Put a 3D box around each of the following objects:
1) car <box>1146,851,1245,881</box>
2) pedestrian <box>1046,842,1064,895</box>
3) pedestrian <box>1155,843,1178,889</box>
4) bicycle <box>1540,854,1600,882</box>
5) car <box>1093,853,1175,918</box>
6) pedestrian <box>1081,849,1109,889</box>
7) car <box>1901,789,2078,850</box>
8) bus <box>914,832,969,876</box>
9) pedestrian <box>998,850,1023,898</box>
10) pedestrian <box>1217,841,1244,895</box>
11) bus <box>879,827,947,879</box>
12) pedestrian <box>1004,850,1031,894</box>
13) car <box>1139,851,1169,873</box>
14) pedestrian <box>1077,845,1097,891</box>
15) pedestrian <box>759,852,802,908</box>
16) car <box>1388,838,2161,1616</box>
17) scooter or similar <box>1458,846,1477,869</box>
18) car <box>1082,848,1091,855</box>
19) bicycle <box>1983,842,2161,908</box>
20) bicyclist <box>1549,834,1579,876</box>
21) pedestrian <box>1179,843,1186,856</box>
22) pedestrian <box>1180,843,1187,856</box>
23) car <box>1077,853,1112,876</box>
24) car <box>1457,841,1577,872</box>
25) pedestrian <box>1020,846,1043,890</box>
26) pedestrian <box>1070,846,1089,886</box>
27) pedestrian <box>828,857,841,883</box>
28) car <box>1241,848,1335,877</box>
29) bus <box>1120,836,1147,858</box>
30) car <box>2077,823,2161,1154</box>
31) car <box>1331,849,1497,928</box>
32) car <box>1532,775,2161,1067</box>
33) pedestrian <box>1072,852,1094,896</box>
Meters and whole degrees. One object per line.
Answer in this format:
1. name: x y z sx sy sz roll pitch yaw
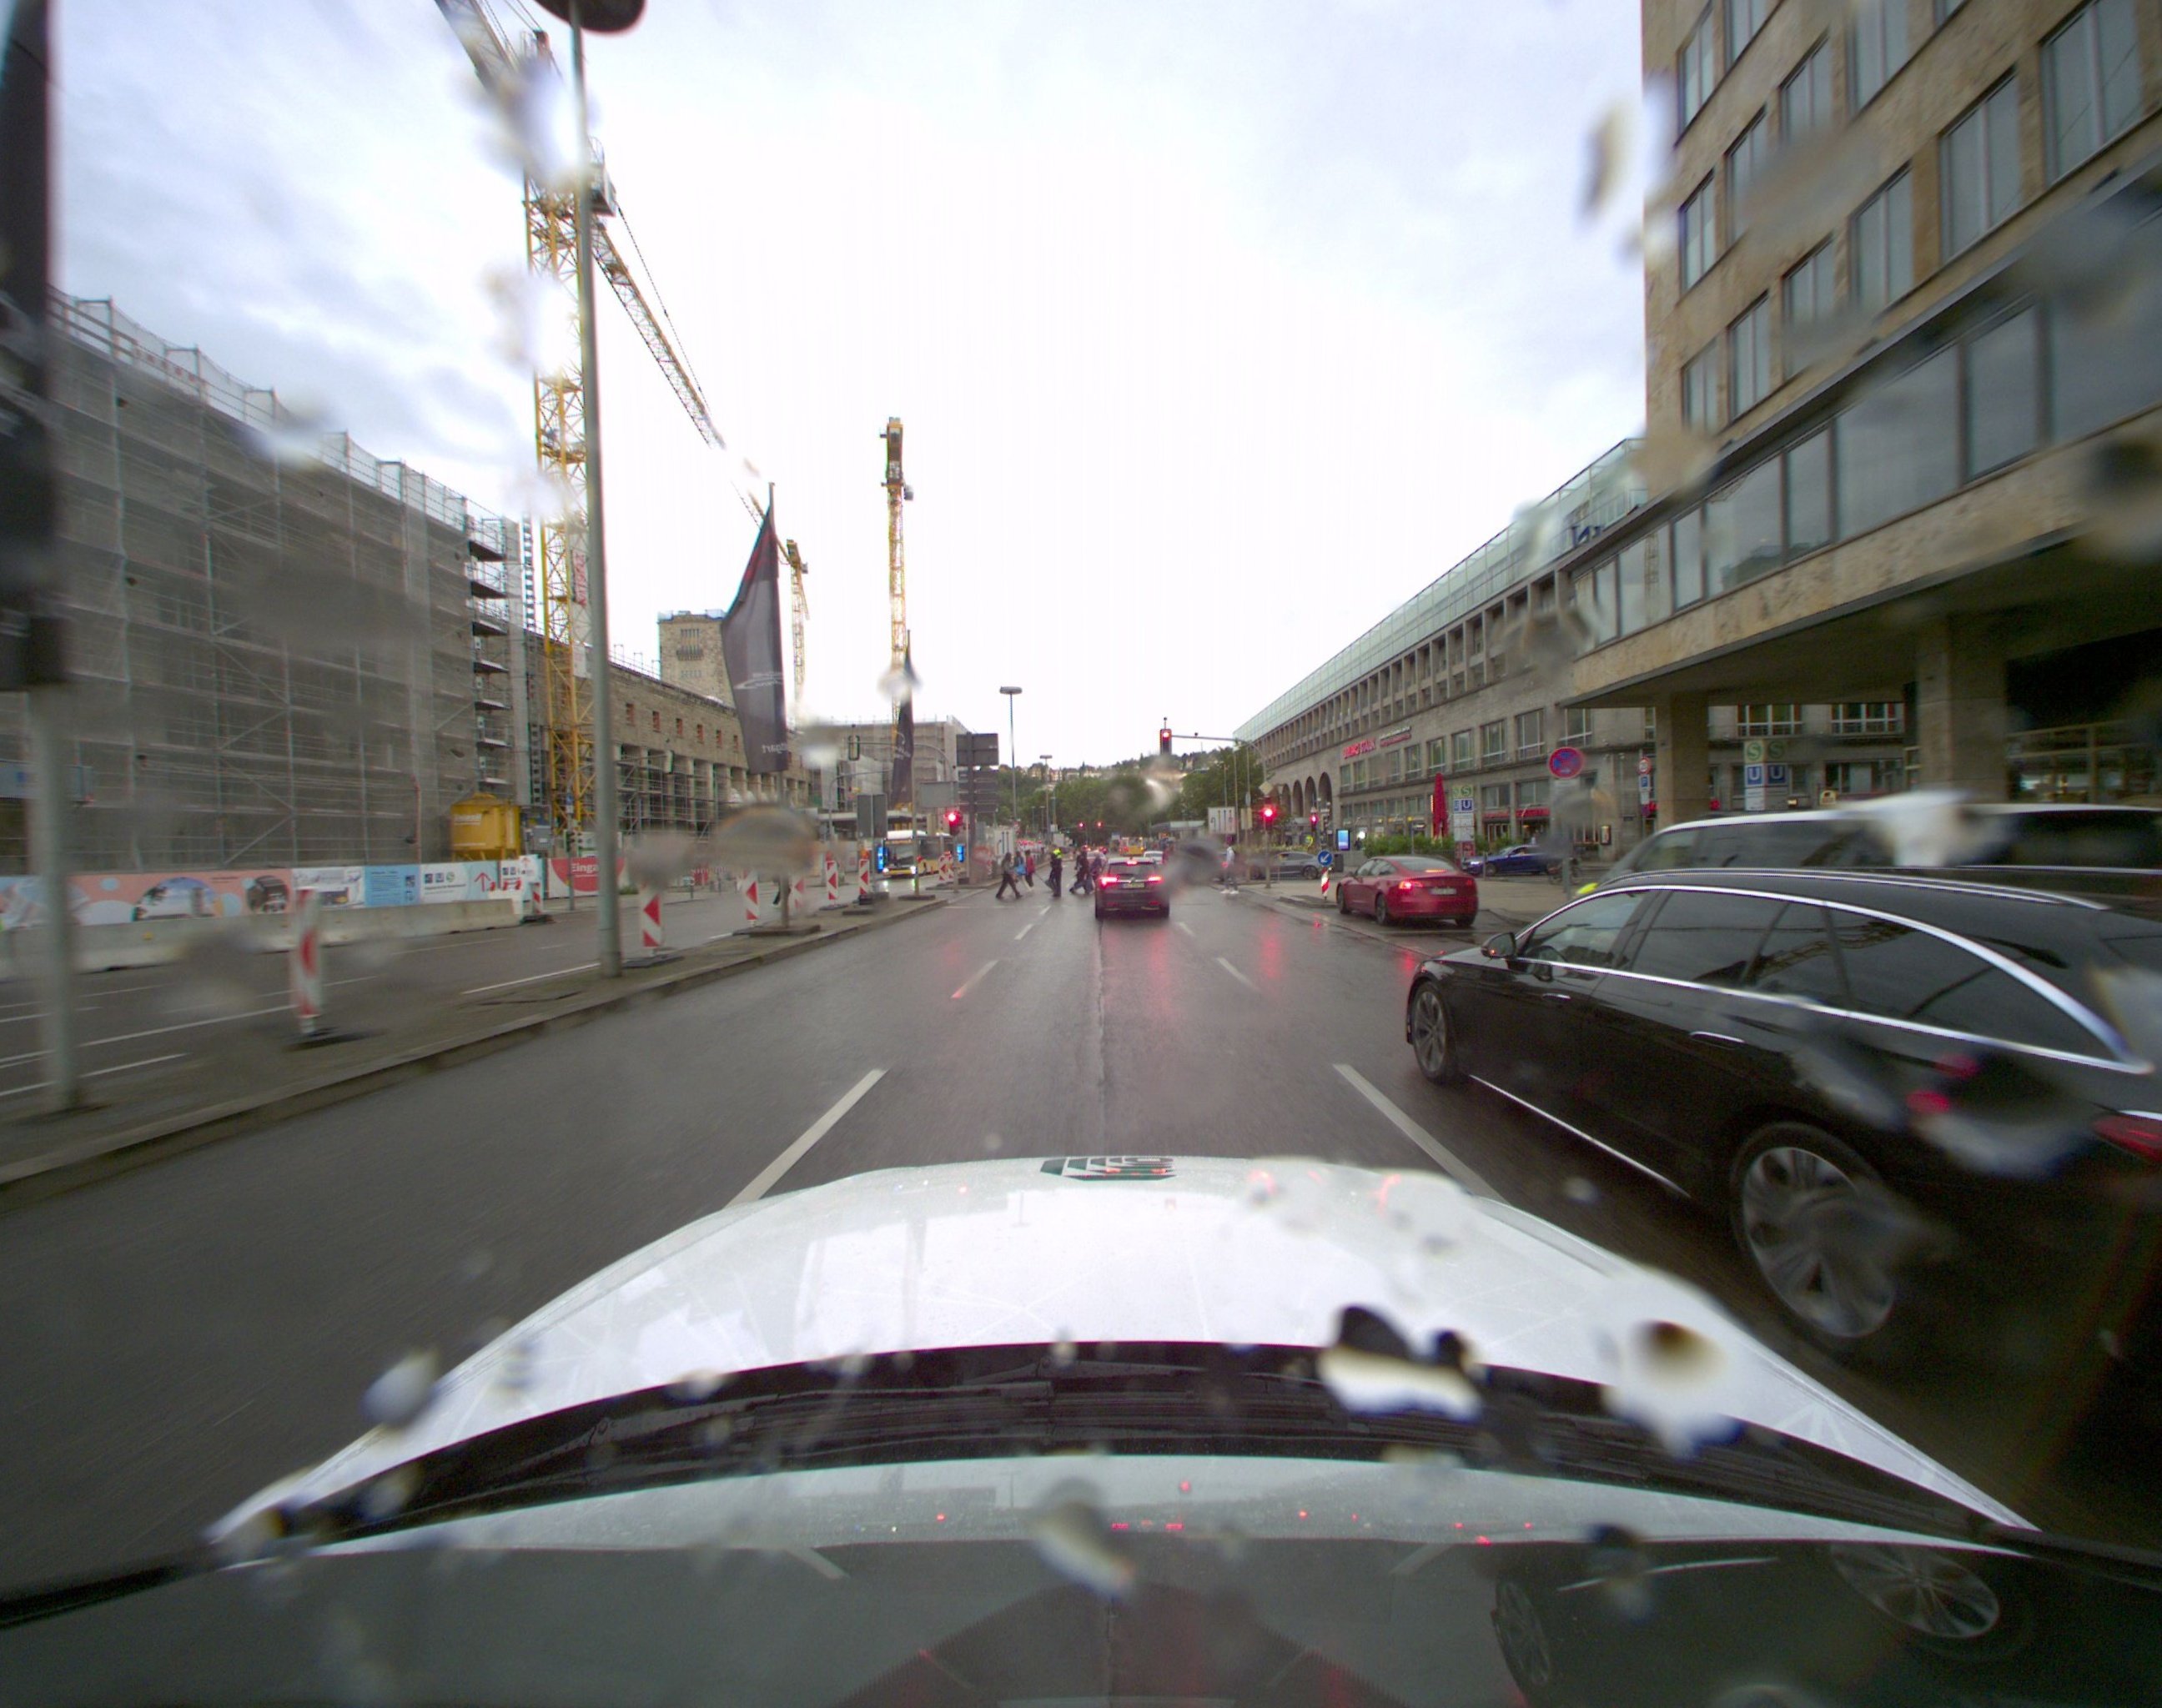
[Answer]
1. car: 5.615 0.566 40.112 4.479 1.398 1.770 -1 -1 33
2. pedestrian: -0.922 0.506 28.867 0.576 1.836 0.820 0 -1 2
3. pedestrian: 3.337 0.457 31.778 0.563 1.752 0.684 -1 -1 45
4. bicycle: 18.157 0.520 30.252 2.213 1.009 0.589 0 -1 -18
5. car: 1.275 0.743 20.701 1.867 1.486 4.001 0 0 2
6. pedestrian: 0.568 0.599 32.765 0.777 1.561 0.881 -1 -1 30
7. car: 43.084 -1.611 38.713 6.146 2.761 2.000 0 -1 0
8. bus: -12.184 0.000 72.088 2.658 3.602 10.217 0 0 2
9. pedestrian: -2.441 0.675 28.105 0.791 1.626 0.899 0 -1 -1
10. pedestrian: 5.341 0.505 29.153 0.798 1.890 0.618 0 -1 -7
11. bus: -12.577 -0.056 61.904 2.658 3.602 10.244 0 0 2
12. pedestrian: -2.286 0.630 29.401 0.912 1.563 0.899 0 -1 -2
13. car: 4.867 0.509 54.624 1.838 1.398 3.566 0 0 2
14. pedestrian: 0.231 0.535 31.276 0.753 1.717 0.466 0 -1 -2
15. pedestrian: -10.023 0.856 27.145 1.093 1.751 0.653 -3 -1 -1
16. car: 3.084 0.726 3.762 1.786 1.501 4.632 0 0 3
17. scooter or similar: 19.978 0.198 42.071 0.290 1.189 1.014 0 -1 -16
18. car: 1.102 -0.531 159.612 1.752 1.398 3.566 0 0 2
19. bicycle: 17.280 0.338 14.094 0.653 1.046 2.473 0 0 2
20. bicyclist: 17.880 0.043 30.155 0.717 1.540 0.609 0 -1 -17
21. pedestrian: 13.471 -0.624 108.002 0.761 1.690 0.824 0 -1 -2
22. pedestrian: 13.508 -0.623 107.005 0.761 1.690 0.824 0 -1 -2
23. car: 0.805 0.661 51.535 1.750 1.398 4.529 0 0 -5
24. car: 20.174 0.119 37.817 4.614 1.398 1.760 0 0 3
25. pedestrian: -1.943 0.554 32.266 0.797 1.717 0.620 -3 -1 -2
26. pedestrian: -0.056 0.454 30.790 0.677 1.474 0.366 0 -1 -3
27. pedestrian: -18.467 1.197 60.985 0.659 1.855 0.799 -2 0 2
28. car: 10.436 0.434 41.091 4.347 1.398 1.769 -1 0 25
29. bus: 8.530 -1.035 133.868 4.157 3.469 14.661 0 0 2
30. car: 6.201 0.648 1.839 1.867 1.637 5.013 0 0 2
31. car: 7.013 0.661 17.720 1.867 1.486 4.528 0 0 2
32. car: 6.579 0.456 7.837 1.867 1.920 4.937 0 0 2
33. pedestrian: 0.077 0.750 30.252 0.796 1.608 0.620 0 -1 -2
